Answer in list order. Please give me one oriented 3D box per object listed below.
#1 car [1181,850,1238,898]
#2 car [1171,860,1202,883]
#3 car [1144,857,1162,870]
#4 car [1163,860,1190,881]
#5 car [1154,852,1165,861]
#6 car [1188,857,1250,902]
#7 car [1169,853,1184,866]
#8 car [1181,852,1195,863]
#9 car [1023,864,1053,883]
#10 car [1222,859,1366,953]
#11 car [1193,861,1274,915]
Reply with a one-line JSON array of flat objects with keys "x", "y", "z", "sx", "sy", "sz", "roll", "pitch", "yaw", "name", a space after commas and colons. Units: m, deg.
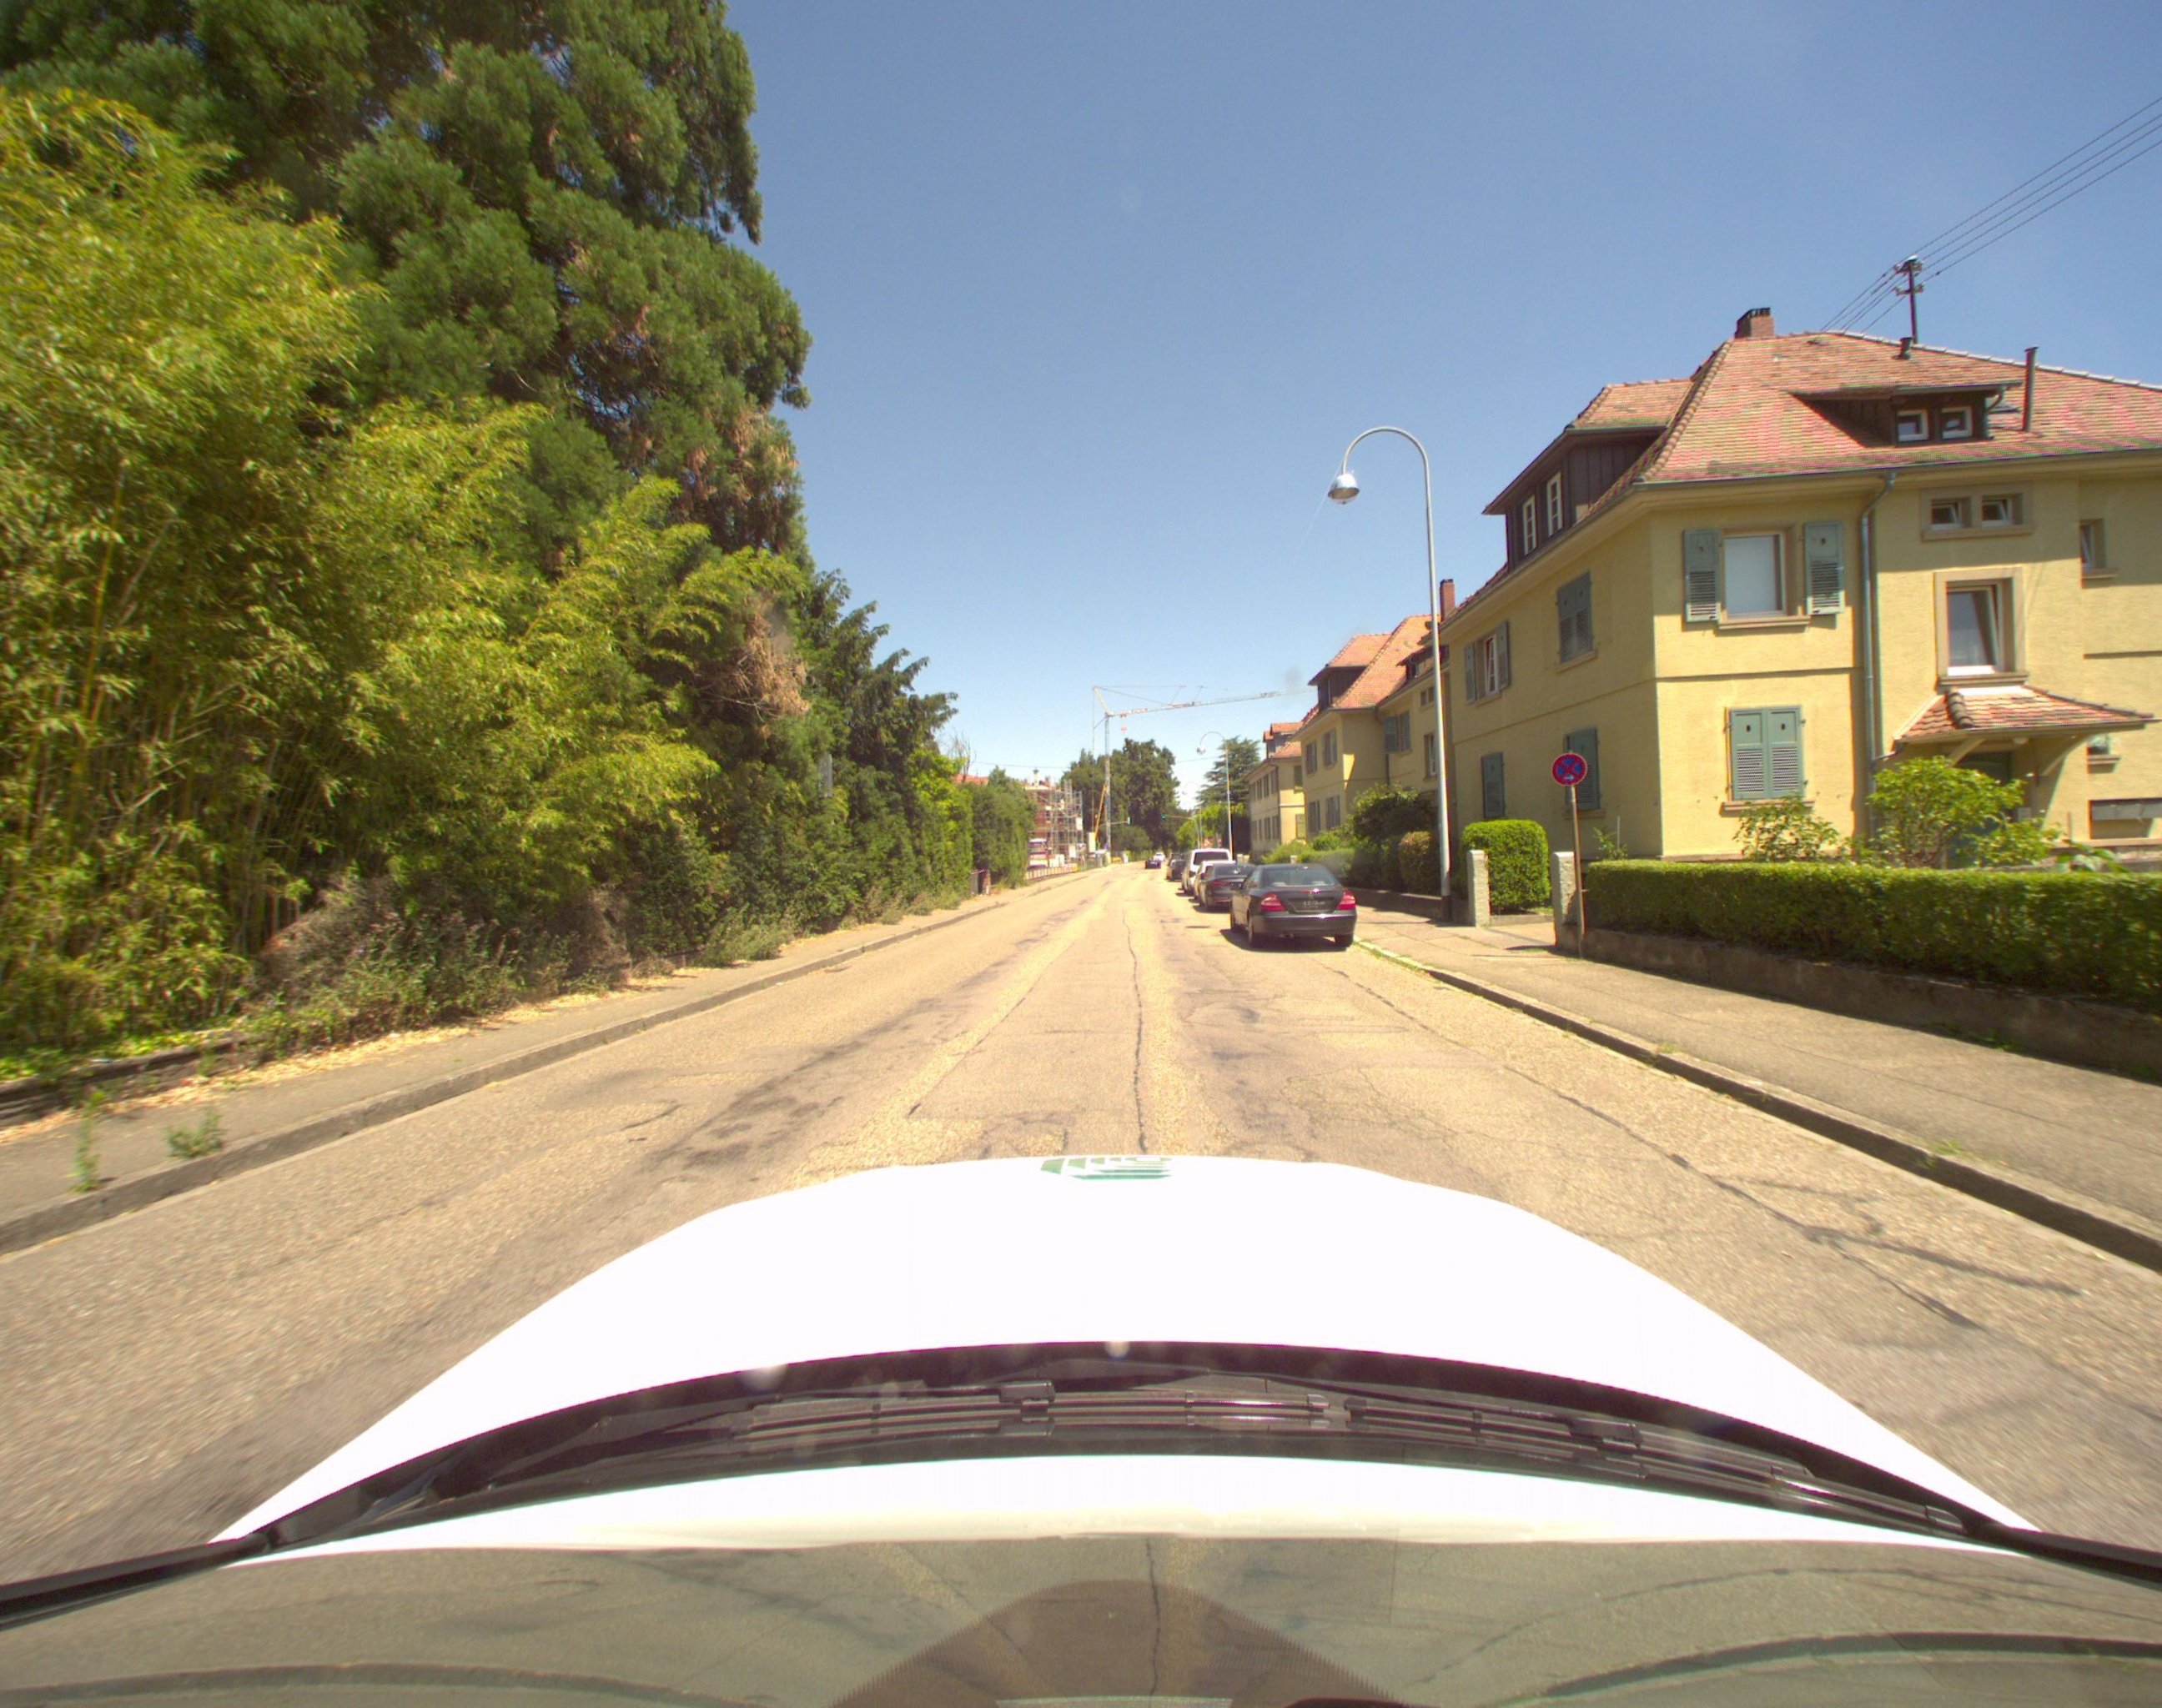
[{"x": 5.363, "y": 0.823, "z": 34.643, "sx": 1.985, "sy": 1.901, "sz": 4.827, "roll": 0, "pitch": 0, "yaw": 4, "name": "car"}, {"x": 7.005, "y": 1.161, "z": 54.513, "sx": 1.754, "sy": 1.451, "sz": 3.842, "roll": -2, "pitch": 0, "yaw": 3, "name": "car"}, {"x": 8.653, "y": 1.109, "z": 97.458, "sx": 1.948, "sy": 1.468, "sz": 4.008, "roll": -2, "pitch": 0, "yaw": 7, "name": "car"}, {"x": 7.030, "y": 1.167, "z": 60.281, "sx": 1.754, "sy": 1.451, "sz": 3.892, "roll": -2, "pitch": 0, "yaw": 3, "name": "car"}, {"x": 14.279, "y": 0.432, "z": 147.717, "sx": 1.751, "sy": 1.451, "sz": 3.848, "roll": -2, "pitch": 0, "yaw": 8, "name": "car"}, {"x": 4.871, "y": 0.854, "z": 29.099, "sx": 1.754, "sy": 1.451, "sz": 3.651, "roll": -2, "pitch": 0, "yaw": 3, "name": "car"}, {"x": 13.394, "y": 0.814, "z": 113.945, "sx": 1.982, "sy": 1.662, "sz": 4.009, "roll": -3, "pitch": -1, "yaw": 8, "name": "car"}, {"x": 17.858, "y": 0.575, "z": 136.124, "sx": 1.981, "sy": 1.662, "sz": 4.012, "roll": -3, "pitch": -1, "yaw": 11, "name": "car"}, {"x": -3.595, "y": 1.626, "z": 68.631, "sx": 1.649, "sy": 1.389, "sz": 3.544, "roll": -3, "pitch": -1, "yaw": 10, "name": "car"}, {"x": 3.725, "y": 0.849, "z": 15.022, "sx": 1.685, "sy": 1.419, "sz": 4.555, "roll": -2, "pitch": -1, "yaw": 3, "name": "car"}, {"x": 4.418, "y": 0.947, "z": 24.243, "sx": 1.754, "sy": 1.371, "sz": 4.611, "roll": -2, "pitch": 0, "yaw": 3, "name": "car"}]
